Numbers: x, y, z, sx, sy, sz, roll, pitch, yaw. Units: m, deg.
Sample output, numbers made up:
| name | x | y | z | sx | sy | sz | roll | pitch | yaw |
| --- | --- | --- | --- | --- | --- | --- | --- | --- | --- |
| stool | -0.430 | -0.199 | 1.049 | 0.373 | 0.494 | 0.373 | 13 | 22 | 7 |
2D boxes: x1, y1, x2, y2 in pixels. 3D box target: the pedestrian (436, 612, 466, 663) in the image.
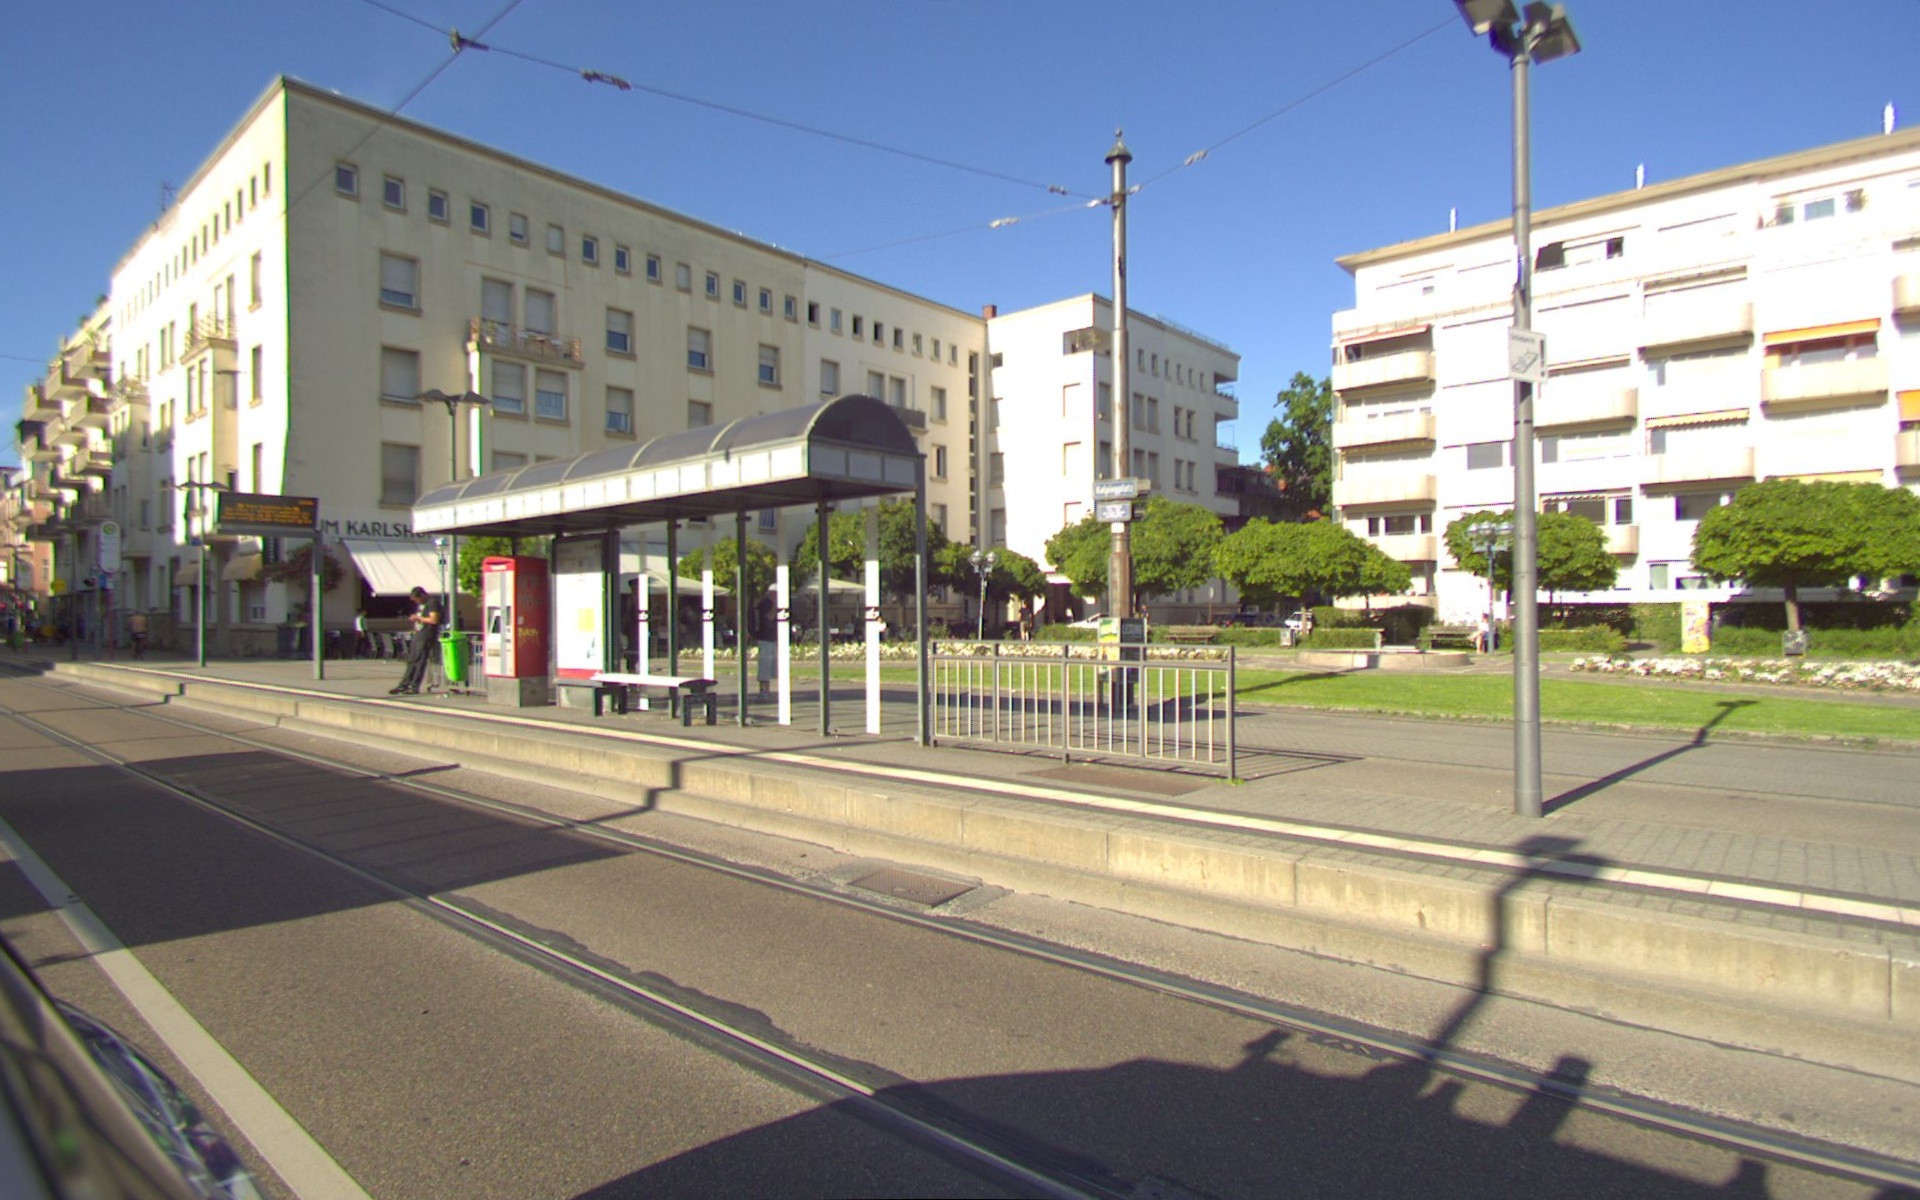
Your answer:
| name | x | y | z | sx | sy | sz | roll | pitch | yaw |
| --- | --- | --- | --- | --- | --- | --- | --- | --- | --- |
| pedestrian | -16.687 | 1.237 | 33.188 | 0.664 | 1.657 | 0.677 | -2 | -4 | -1 |

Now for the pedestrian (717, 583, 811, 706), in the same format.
| name | x | y | z | sx | sy | sz | roll | pitch | yaw |
| --- | --- | --- | --- | --- | --- | --- | --- | --- | --- |
| pedestrian | -2.835 | 0.627 | 14.618 | 0.980 | 1.693 | 0.976 | 1 | -2 | -40 |

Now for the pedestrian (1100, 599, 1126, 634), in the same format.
| name | x | y | z | sx | sy | sz | roll | pitch | yaw |
| --- | --- | --- | --- | --- | --- | --- | --- | --- | --- |
| pedestrian | 8.944 | 0.977 | 59.012 | 1.090 | 2.029 | 1.079 | -1 | -1 | 40 |

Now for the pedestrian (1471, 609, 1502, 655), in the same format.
| name | x | y | z | sx | sy | sz | roll | pitch | yaw |
| --- | --- | --- | --- | --- | --- | --- | --- | --- | --- |
| pedestrian | 16.178 | 0.968 | 31.113 | 0.678 | 1.370 | 1.039 | -1 | -1 | 36 |

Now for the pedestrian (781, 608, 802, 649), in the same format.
| name | x | y | z | sx | sy | sz | roll | pitch | yaw |
| --- | --- | --- | --- | --- | --- | --- | --- | --- | --- |
| pedestrian | -7.392 | 1.266 | 44.479 | 0.677 | 1.750 | 0.671 | -3 | -4 | 14 |

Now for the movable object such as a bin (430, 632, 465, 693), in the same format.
| name | x | y | z | sx | sy | sz | roll | pitch | yaw |
| --- | --- | --- | --- | --- | --- | --- | --- | --- | --- |
| movable object such as a bin | -7.477 | 0.909 | 14.764 | 0.416 | 0.866 | 0.332 | -2 | -2 | 44 |

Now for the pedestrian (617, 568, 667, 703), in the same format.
| name | x | y | z | sx | sy | sz | roll | pitch | yaw |
| --- | --- | --- | --- | --- | --- | --- | --- | --- | --- |
| pedestrian | -4.532 | 0.509 | 14.433 | 0.526 | 1.873 | 0.423 | -2 | -4 | 44 |

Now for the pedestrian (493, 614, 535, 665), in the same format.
| name | x | y | z | sx | sy | sz | roll | pitch | yaw |
| --- | --- | --- | --- | --- | --- | --- | --- | --- | --- |
| pedestrian | -15.008 | 1.335 | 34.075 | 0.755 | 1.657 | 1.053 | -5 | -5 | 36 |

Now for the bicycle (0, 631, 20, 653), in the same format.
| name | x | y | z | sx | sy | sz | roll | pitch | yaw |
| --- | --- | --- | --- | --- | --- | --- | --- | --- | --- |
| bicycle | -49.807 | 2.176 | 52.866 | 2.032 | 1.134 | 0.705 | -1 | -1 | 37 |

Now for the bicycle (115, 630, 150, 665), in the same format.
| name | x | y | z | sx | sy | sz | roll | pitch | yaw |
| --- | --- | --- | --- | --- | --- | --- | --- | --- | --- |
| bicycle | -28.287 | 1.612 | 34.584 | 0.720 | 1.121 | 1.978 | 0 | -1 | -45 |

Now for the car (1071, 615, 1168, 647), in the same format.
| name | x | y | z | sx | sy | sz | roll | pitch | yaw |
| --- | --- | --- | --- | --- | --- | --- | --- | --- | --- |
| car | 6.946 | 1.335 | 44.235 | 3.713 | 1.310 | 1.973 | -1 | -1 | 41 |

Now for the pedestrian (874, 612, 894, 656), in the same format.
| name | x | y | z | sx | sy | sz | roll | pitch | yaw |
| --- | --- | --- | --- | --- | --- | --- | --- | --- | --- |
| pedestrian | -3.143 | 1.412 | 41.649 | 0.710 | 1.750 | 0.673 | -2 | -4 | 2 |

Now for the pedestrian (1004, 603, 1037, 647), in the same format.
| name | x | y | z | sx | sy | sz | roll | pitch | yaw |
| --- | --- | --- | --- | --- | --- | --- | --- | --- | --- |
| pedestrian | 2.568 | 1.057 | 42.892 | 1.073 | 1.801 | 1.169 | -1 | -1 | 20 |

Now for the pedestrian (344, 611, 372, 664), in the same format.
| name | x | y | z | sx | sy | sz | roll | pitch | yaw |
| --- | --- | --- | --- | --- | --- | --- | --- | --- | --- |
| pedestrian | -19.363 | 1.212 | 32.581 | 0.662 | 1.657 | 0.753 | 0 | -4 | -22 |

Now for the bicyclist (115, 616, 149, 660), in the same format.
| name | x | y | z | sx | sy | sz | roll | pitch | yaw |
| --- | --- | --- | --- | --- | --- | --- | --- | --- | --- |
| bicyclist | -28.330 | 1.292 | 34.608 | 0.818 | 1.466 | 0.878 | -1 | 0 | -45 |

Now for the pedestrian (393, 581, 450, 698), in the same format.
| name | x | y | z | sx | sy | sz | roll | pitch | yaw |
| --- | --- | --- | --- | --- | --- | --- | --- | --- | --- |
| pedestrian | -8.203 | 0.604 | 15.416 | 0.607 | 1.731 | 0.542 | -1 | -3 | 44 |

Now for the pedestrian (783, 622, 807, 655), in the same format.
| name | x | y | z | sx | sy | sz | roll | pitch | yaw |
| --- | --- | --- | --- | --- | --- | --- | --- | --- | --- |
| pedestrian | -6.591 | 1.520 | 40.356 | 0.672 | 1.280 | 0.636 | -5 | -5 | 36 |

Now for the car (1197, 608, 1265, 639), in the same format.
| name | x | y | z | sx | sy | sz | roll | pitch | yaw |
| --- | --- | --- | --- | --- | --- | --- | --- | --- | --- |
| car | 13.363 | 1.160 | 49.895 | 2.932 | 1.497 | 1.399 | -1 | -1 | 41 |

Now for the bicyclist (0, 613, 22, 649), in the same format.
| name | x | y | z | sx | sy | sz | roll | pitch | yaw |
| --- | --- | --- | --- | --- | --- | --- | --- | --- | --- |
| bicyclist | -49.796 | 1.612 | 52.838 | 1.093 | 1.807 | 0.994 | -1 | -1 | 37 |

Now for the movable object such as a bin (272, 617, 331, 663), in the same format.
| name | x | y | z | sx | sy | sz | roll | pitch | yaw |
| --- | --- | --- | --- | --- | --- | --- | --- | --- | --- |
| movable object such as a bin | -20.874 | 1.257 | 32.067 | 1.127 | 1.410 | 1.302 | -1 | -1 | 40 |
